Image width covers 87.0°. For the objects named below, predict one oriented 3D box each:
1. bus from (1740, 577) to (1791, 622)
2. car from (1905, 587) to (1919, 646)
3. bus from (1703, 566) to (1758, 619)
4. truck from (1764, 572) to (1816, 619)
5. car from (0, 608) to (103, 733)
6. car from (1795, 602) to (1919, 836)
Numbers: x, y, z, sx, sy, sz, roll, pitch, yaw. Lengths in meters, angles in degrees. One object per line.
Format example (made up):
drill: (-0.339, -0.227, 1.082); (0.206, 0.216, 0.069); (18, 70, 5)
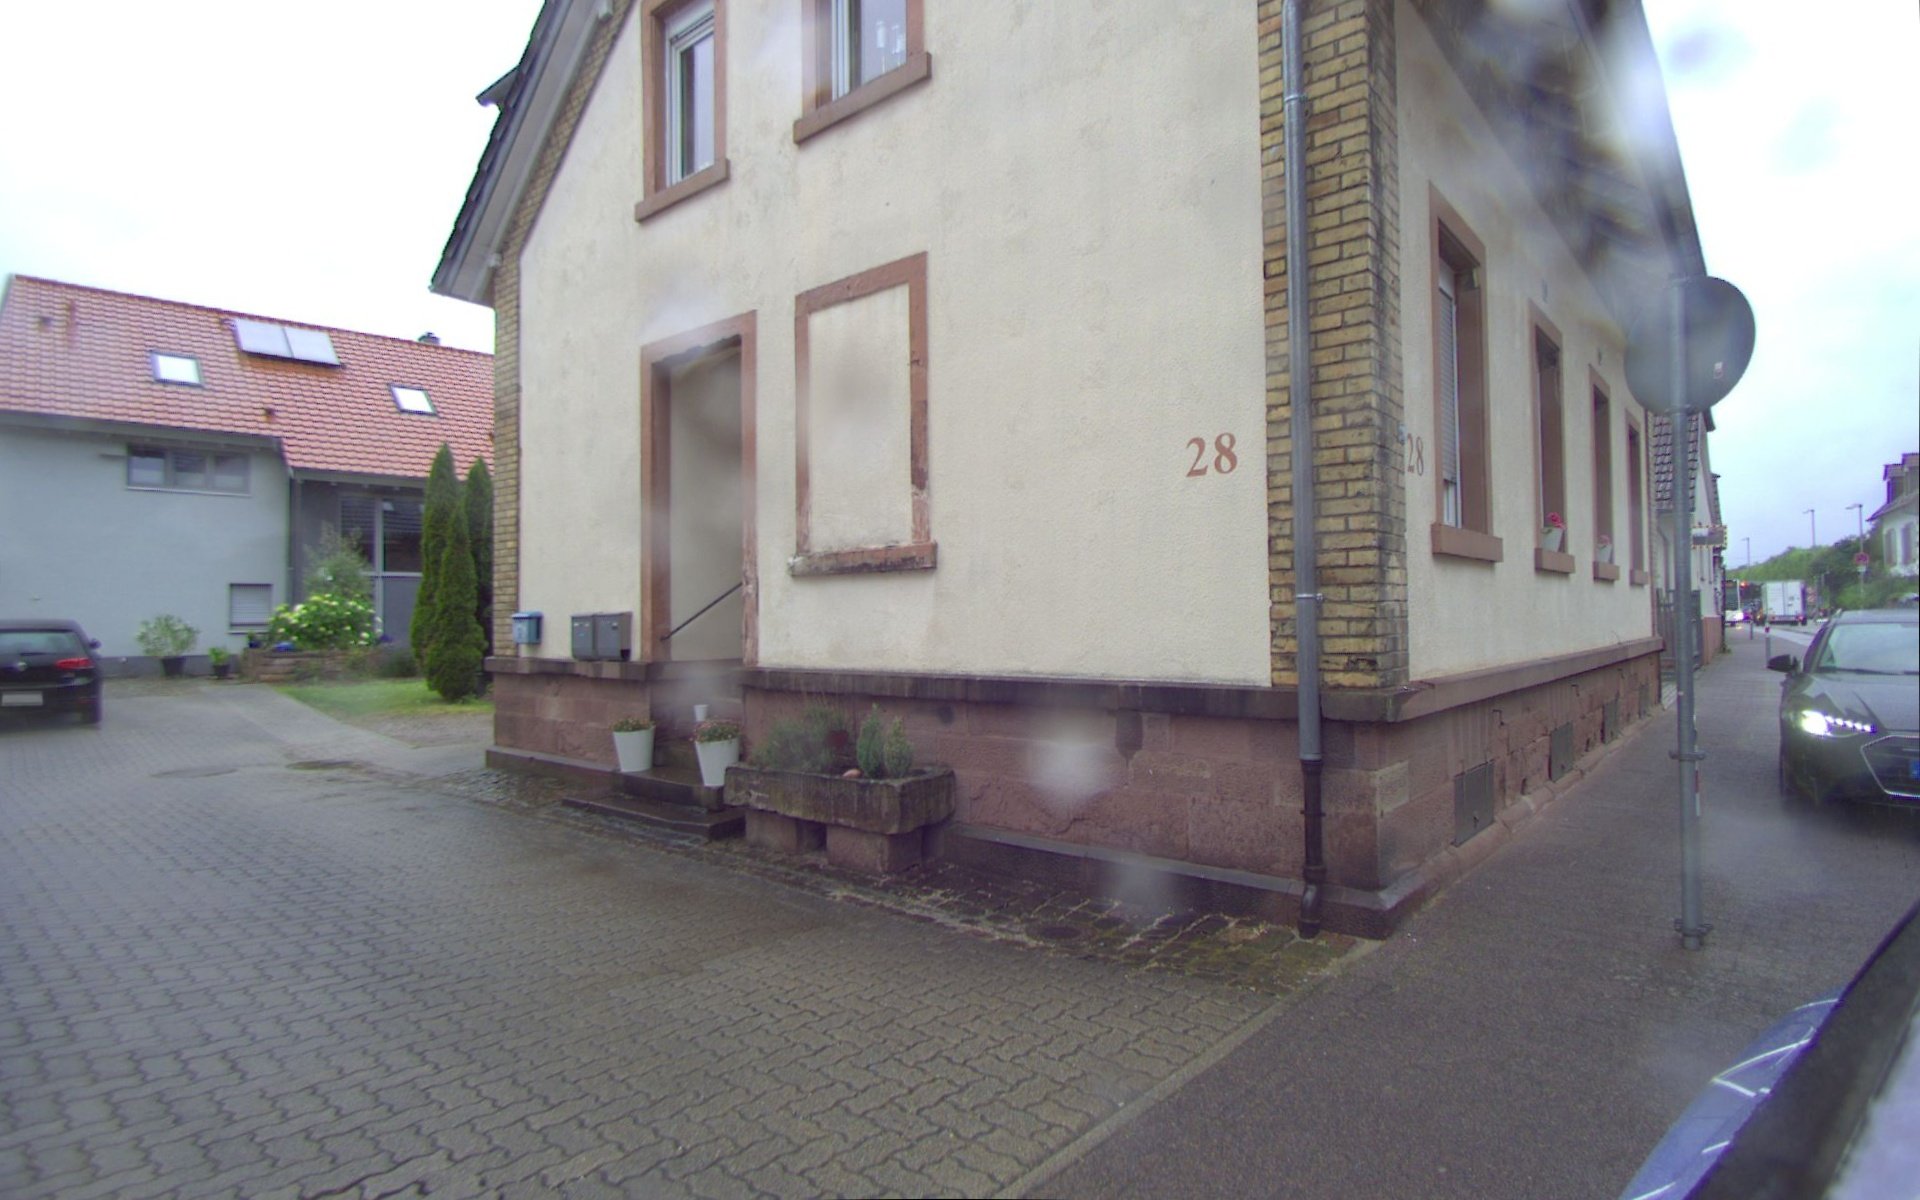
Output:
bus: (63.656, -0.119, 80.139); (2.654, 3.273, 12.032); (0, 0, 36)
car: (30.383, 0.451, 30.980); (1.777, 1.686, 4.363); (-3, -1, 40)
bus: (51.272, -0.539, 67.542); (2.654, 3.273, 12.032); (0, 0, 36)
truck: (46.912, -0.291, 57.291); (1.988, 2.536, 5.575); (0, 0, 37)
car: (-13.946, 0.951, 15.111); (1.655, 1.491, 3.993); (0, 2, -42)
car: (7.368, 0.730, 7.543); (1.732, 1.388, 4.044); (0, 0, 39)
